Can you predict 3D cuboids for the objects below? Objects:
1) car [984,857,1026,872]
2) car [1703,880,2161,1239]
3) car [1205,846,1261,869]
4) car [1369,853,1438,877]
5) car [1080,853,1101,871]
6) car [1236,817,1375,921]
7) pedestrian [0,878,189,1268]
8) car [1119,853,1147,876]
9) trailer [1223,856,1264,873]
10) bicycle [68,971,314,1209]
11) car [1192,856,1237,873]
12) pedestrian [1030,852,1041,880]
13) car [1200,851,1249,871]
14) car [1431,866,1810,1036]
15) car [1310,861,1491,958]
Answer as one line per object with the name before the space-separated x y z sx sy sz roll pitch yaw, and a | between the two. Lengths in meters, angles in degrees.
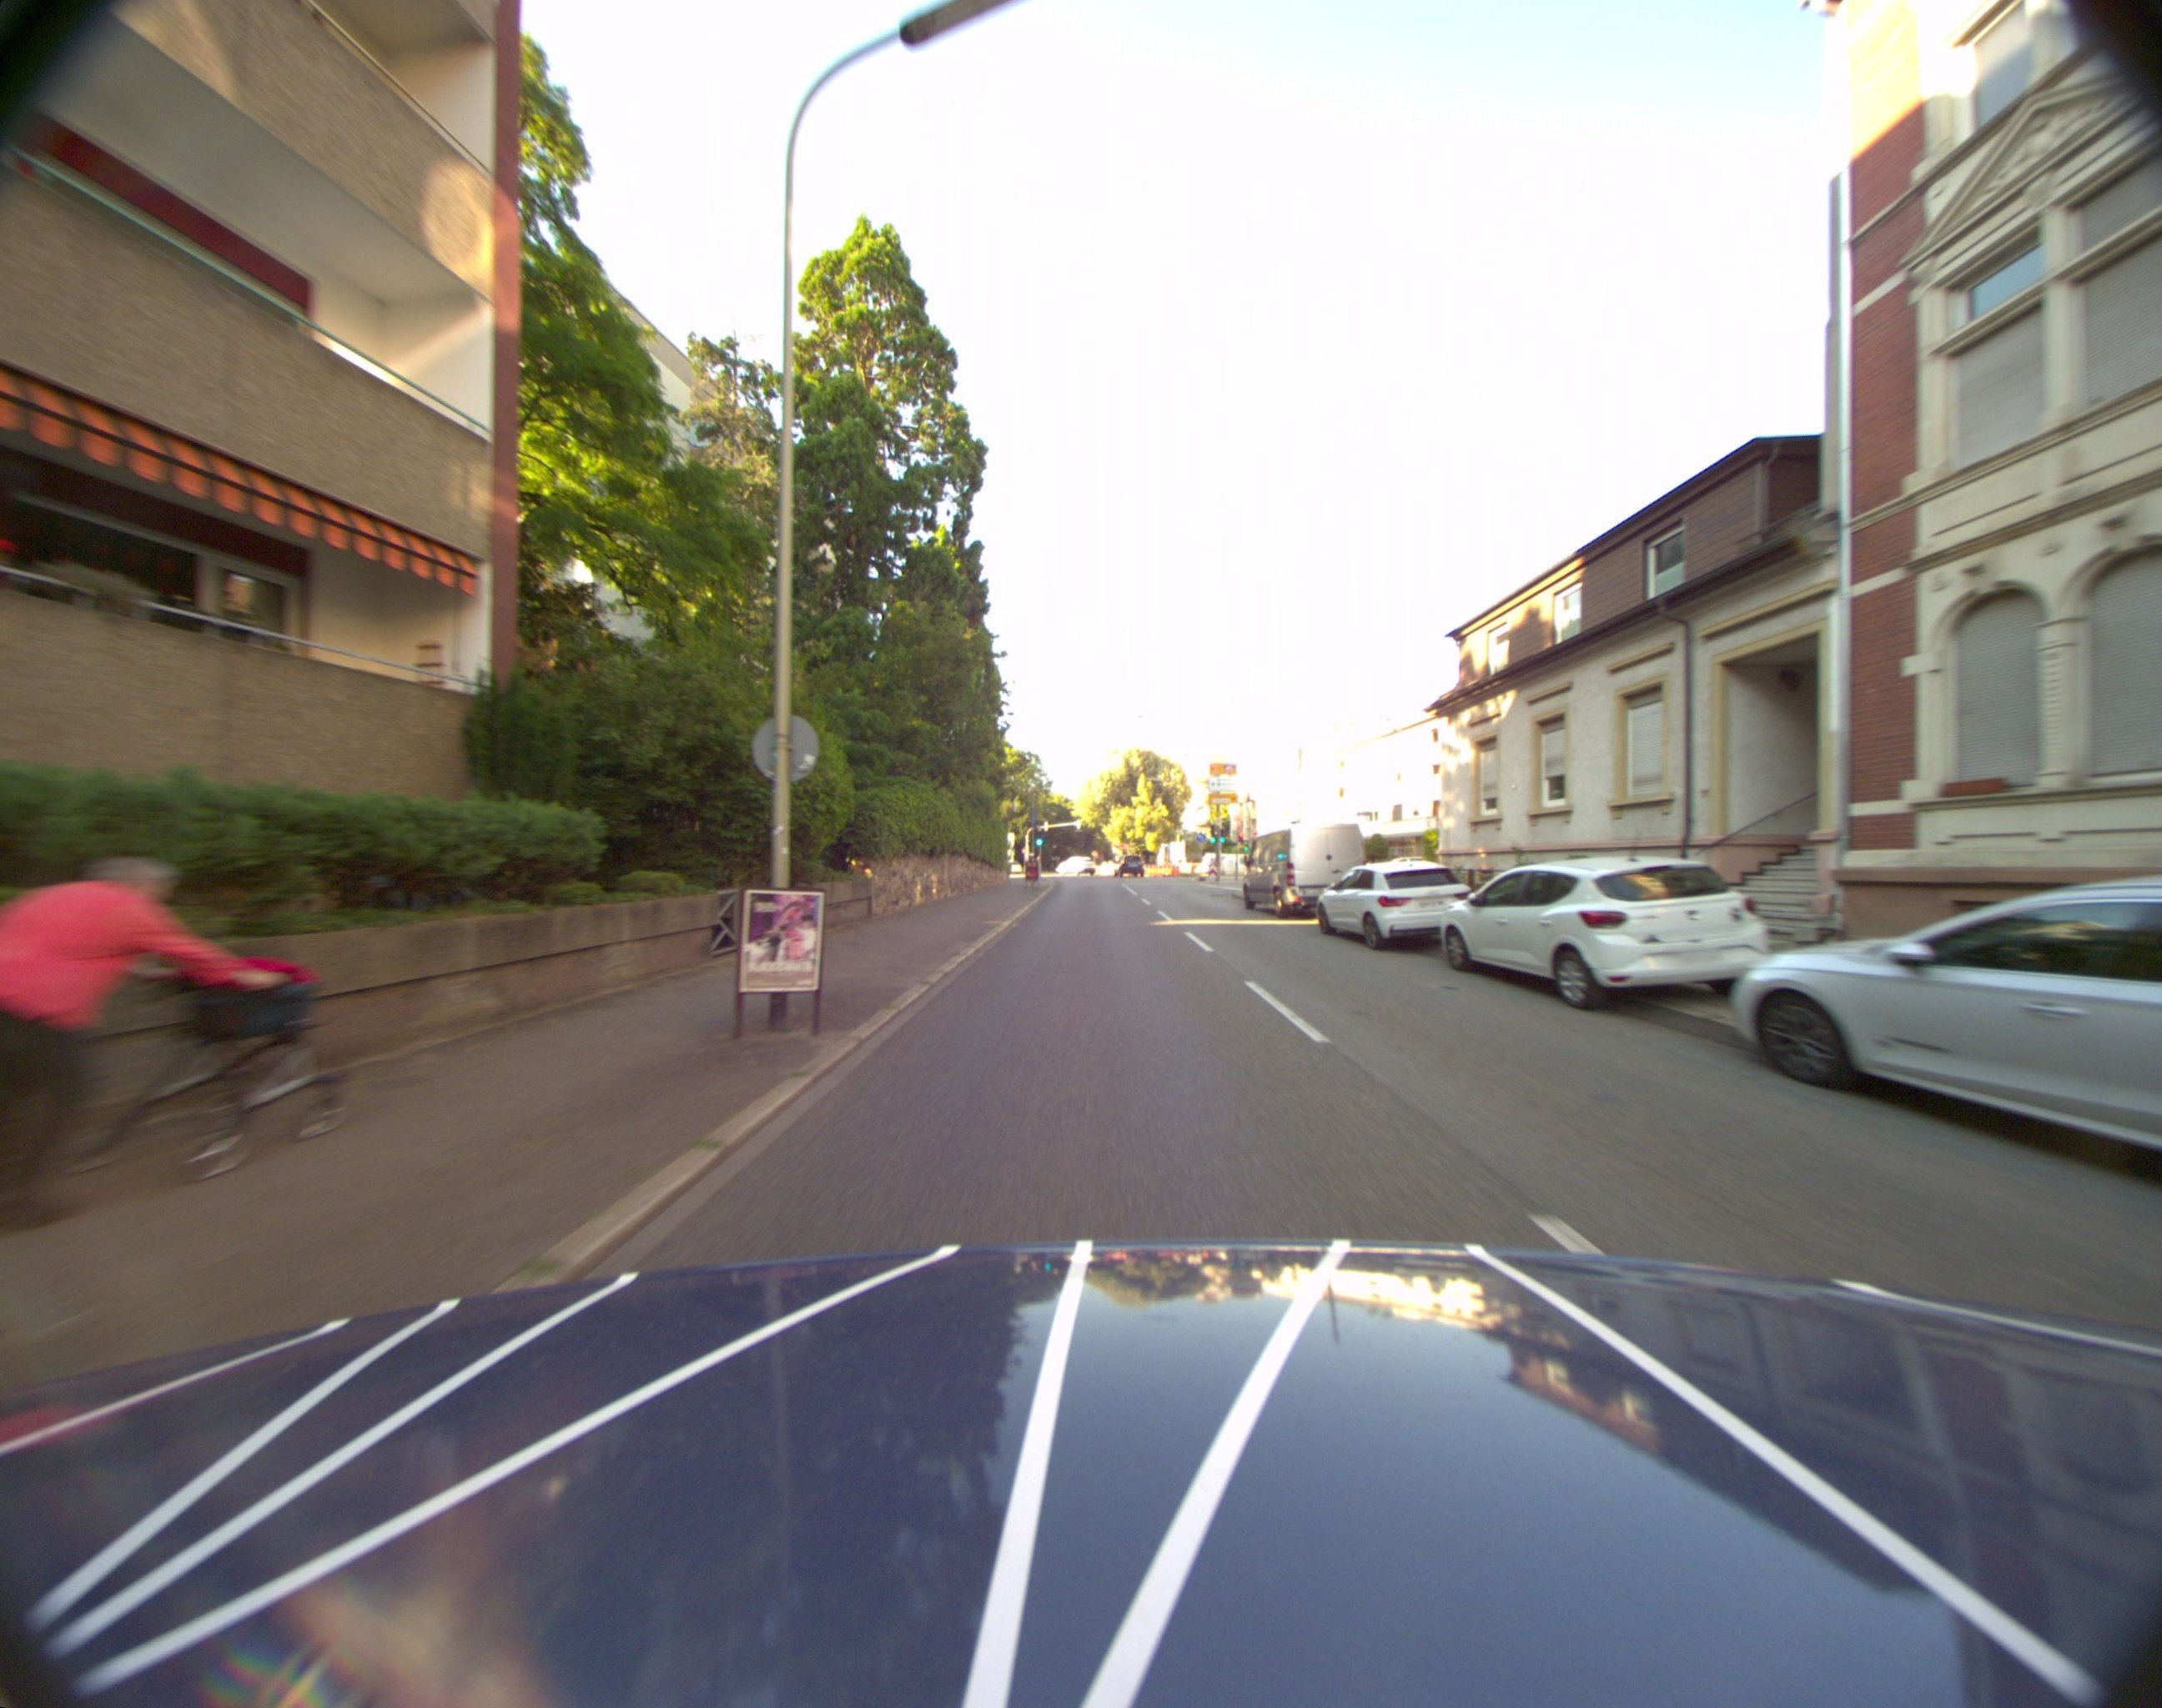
car | -7.910 1.072 78.779 4.085 1.471 1.785 -2 -1 32
car | 5.765 0.979 3.674 1.707 1.527 4.548 -1 0 -1
car | 14.168 0.337 71.097 4.681 1.953 2.117 -1 -1 -5
car | 23.353 0.798 55.158 4.320 1.601 2.002 -1 -1 11
car | 0.861 0.761 71.251 1.780 1.638 4.534 -1 -1 -1
car | 5.945 0.363 21.030 2.073 2.446 6.014 -1 0 0
pedestrian | -4.204 0.804 2.985 0.599 1.394 0.668 -1 0 -1
car | 3.899 0.794 57.641 1.958 1.638 4.284 -1 -1 1
trailer | 14.438 0.937 67.553 3.263 1.388 1.574 -1 -1 -5
bicycle | -4.176 1.078 3.602 0.568 0.964 0.492 -1 0 -3
car | 13.451 1.060 76.583 4.002 1.470 2.000 -2 -1 -4
pedestrian | -2.732 0.706 45.428 0.604 1.683 0.612 1 0 0
car | 13.903 0.704 73.922 4.324 1.840 2.000 -1 -1 0
car | 5.897 0.928 9.010 1.706 1.494 4.021 -1 0 2
car | 5.660 0.896 13.995 1.707 1.494 3.823 -1 0 0
